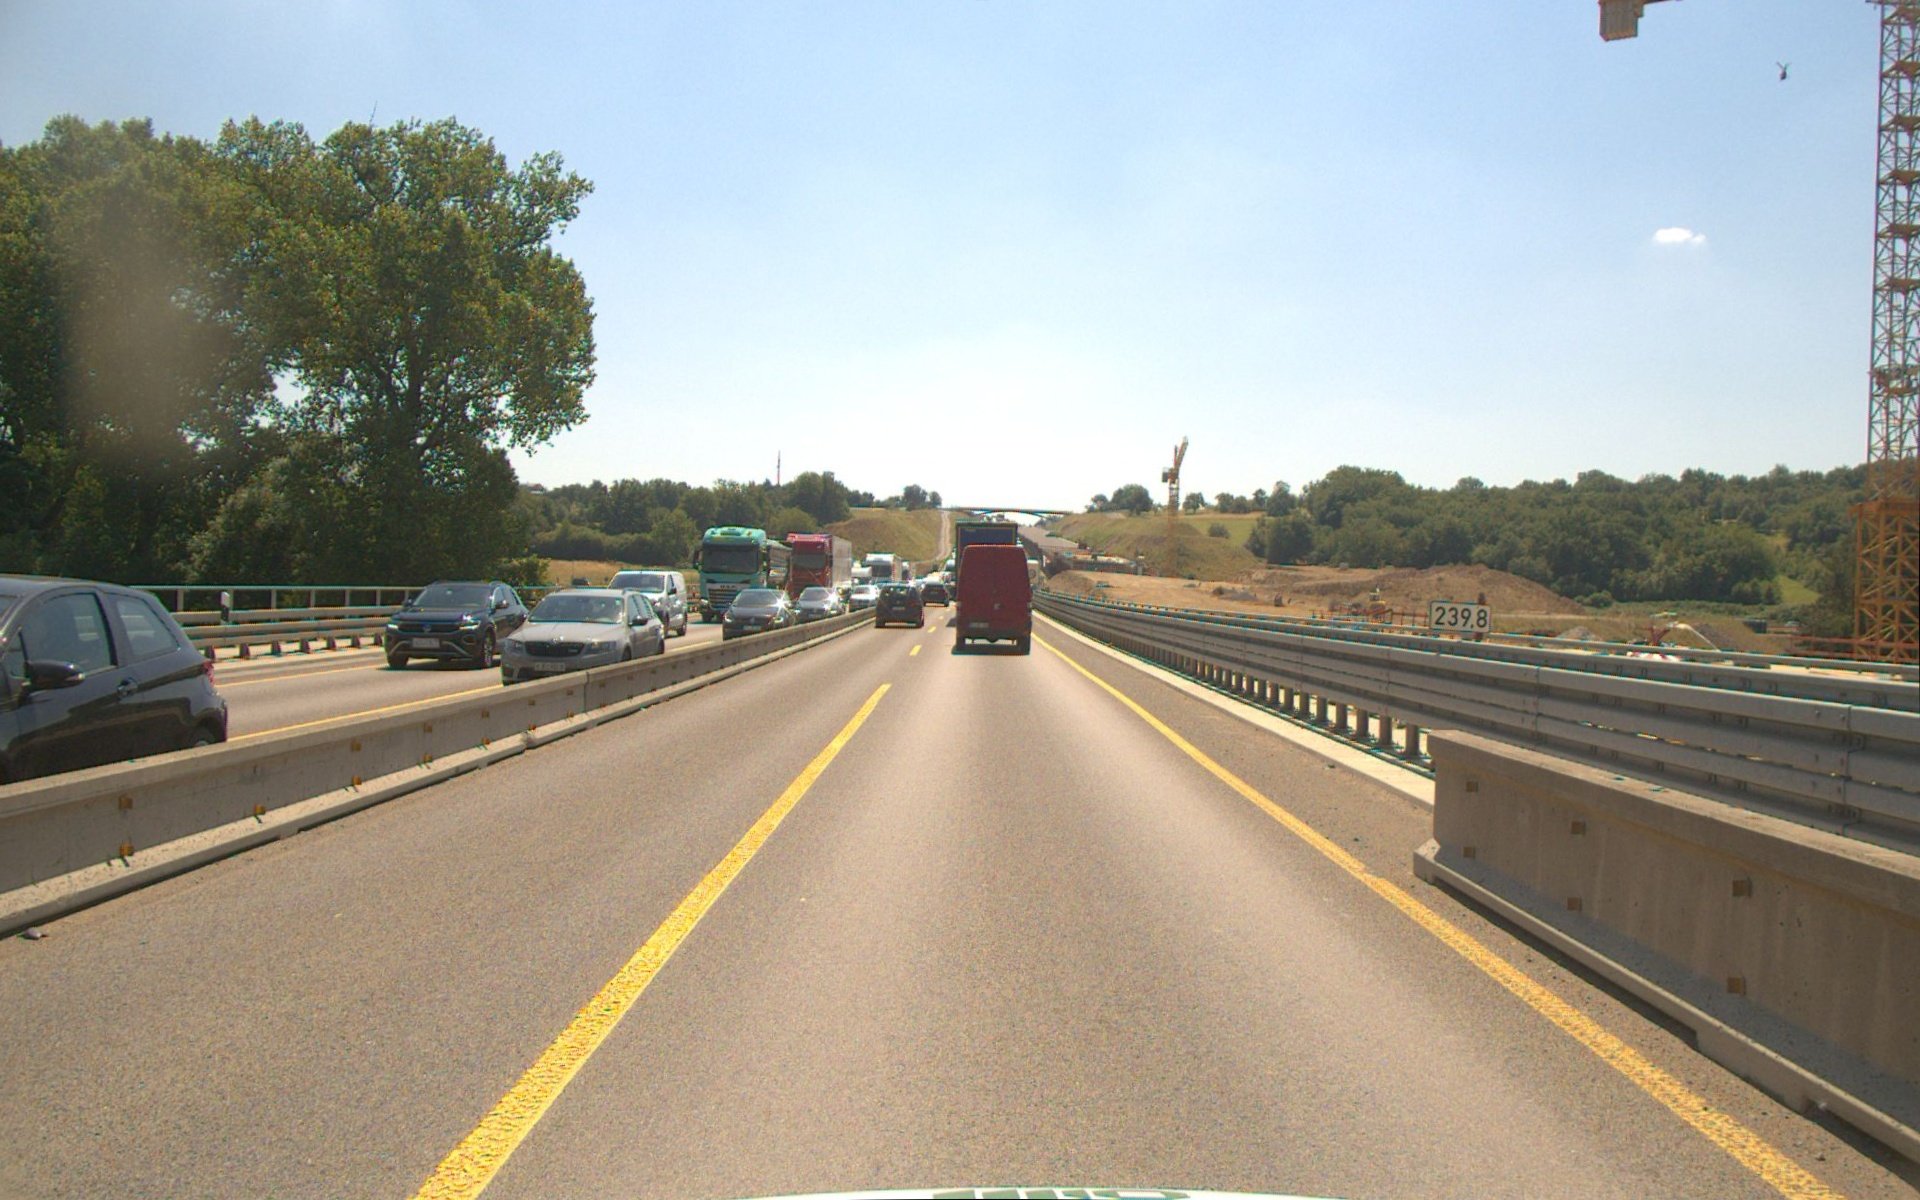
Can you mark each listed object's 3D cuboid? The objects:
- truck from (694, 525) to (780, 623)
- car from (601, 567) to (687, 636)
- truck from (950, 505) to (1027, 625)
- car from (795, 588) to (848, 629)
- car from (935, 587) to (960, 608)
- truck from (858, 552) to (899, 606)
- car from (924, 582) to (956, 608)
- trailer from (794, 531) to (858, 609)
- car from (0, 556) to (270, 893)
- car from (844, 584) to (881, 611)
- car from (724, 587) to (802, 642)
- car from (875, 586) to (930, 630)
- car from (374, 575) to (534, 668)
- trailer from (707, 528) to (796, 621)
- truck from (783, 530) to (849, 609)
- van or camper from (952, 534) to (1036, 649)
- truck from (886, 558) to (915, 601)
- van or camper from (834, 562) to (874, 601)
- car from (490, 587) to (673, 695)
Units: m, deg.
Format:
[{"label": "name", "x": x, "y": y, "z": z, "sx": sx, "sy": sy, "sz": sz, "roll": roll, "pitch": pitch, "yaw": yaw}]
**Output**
[{"label": "truck", "x": -8.969, "y": -1.019, "z": 67.019, "sx": 2.739, "sy": 3.787, "sz": 5.374, "roll": 0, "pitch": 0, "yaw": 0}, {"label": "car", "x": -9.085, "y": 0.011, "z": 47.851, "sx": 1.822, "sy": 1.900, "sz": 4.627, "roll": 0, "pitch": 0, "yaw": -3}, {"label": "truck", "x": 1.126, "y": -1.434, "z": 69.983, "sx": 2.959, "sy": 4.775, "sz": 6.931, "roll": -1, "pitch": 0, "yaw": -1}, {"label": "car", "x": -5.154, "y": 0.295, "z": 61.783, "sx": 1.597, "sy": 1.433, "sz": 4.103, "roll": -1, "pitch": 1, "yaw": 0}, {"label": "car", "x": -1.036, "y": -0.219, "z": 139.562, "sx": 1.971, "sy": 1.572, "sz": 4.132, "roll": 2, "pitch": 1, "yaw": 0}, {"label": "truck", "x": -7.205, "y": -1.882, "z": 147.082, "sx": 3.014, "sy": 4.616, "sz": 7.104, "roll": 1, "pitch": 0, "yaw": 2}, {"label": "car", "x": -1.279, "y": -0.355, "z": 108.155, "sx": 1.971, "sy": 1.572, "sz": 4.132, "roll": 2, "pitch": 1, "yaw": 0}, {"label": "trailer", "x": -7.807, "y": -1.791, "z": 97.825, "sx": 2.749, "sy": 4.249, "sz": 11.799, "roll": 1, "pitch": 1, "yaw": 0}, {"label": "car", "x": -5.476, "y": 0.591, "z": 9.098, "sx": 1.706, "sy": 1.610, "sz": 4.084, "roll": -1, "pitch": 1, "yaw": -1}, {"label": "car", "x": -5.250, "y": -0.133, "z": 89.602, "sx": 1.745, "sy": 1.404, "sz": 4.711, "roll": -1, "pitch": 1, "yaw": -1}, {"label": "car", "x": -5.443, "y": 0.374, "z": 46.084, "sx": 1.644, "sy": 1.416, "sz": 4.156, "roll": -1, "pitch": 1, "yaw": 0}, {"label": "car", "x": -2.171, "y": 0.280, "z": 63.578, "sx": 1.971, "sy": 1.572, "sz": 4.132, "roll": 1, "pitch": 0, "yaw": -1}, {"label": "car", "x": -9.250, "y": 0.353, "z": 30.551, "sx": 1.776, "sy": 1.597, "sz": 3.999, "roll": 0, "pitch": 0, "yaw": -1}, {"label": "trailer", "x": -8.977, "y": -1.118, "z": 72.038, "sx": 2.737, "sy": 3.736, "sz": 8.956, "roll": 1, "pitch": 1, "yaw": 0}, {"label": "truck", "x": -7.861, "y": -1.667, "z": 90.971, "sx": 2.757, "sy": 4.107, "sz": 6.524, "roll": 1, "pitch": 1, "yaw": 2}, {"label": "van or camper", "x": 0.831, "y": -0.231, "z": 43.271, "sx": 1.988, "sy": 2.792, "sz": 4.515, "roll": 1, "pitch": 0, "yaw": -1}, {"label": "truck", "x": -6.305, "y": -2.149, "z": 175.992, "sx": 2.748, "sy": 4.469, "sz": 6.226, "roll": 1, "pitch": 1, "yaw": 1}, {"label": "van or camper", "x": -7.811, "y": -1.383, "z": 122.262, "sx": 2.451, "sy": 2.745, "sz": 5.245, "roll": 1, "pitch": 1, "yaw": 2}, {"label": "car", "x": -5.595, "y": 0.548, "z": 25.040, "sx": 1.789, "sy": 1.443, "sz": 4.656, "roll": -1, "pitch": 1, "yaw": -1}]
